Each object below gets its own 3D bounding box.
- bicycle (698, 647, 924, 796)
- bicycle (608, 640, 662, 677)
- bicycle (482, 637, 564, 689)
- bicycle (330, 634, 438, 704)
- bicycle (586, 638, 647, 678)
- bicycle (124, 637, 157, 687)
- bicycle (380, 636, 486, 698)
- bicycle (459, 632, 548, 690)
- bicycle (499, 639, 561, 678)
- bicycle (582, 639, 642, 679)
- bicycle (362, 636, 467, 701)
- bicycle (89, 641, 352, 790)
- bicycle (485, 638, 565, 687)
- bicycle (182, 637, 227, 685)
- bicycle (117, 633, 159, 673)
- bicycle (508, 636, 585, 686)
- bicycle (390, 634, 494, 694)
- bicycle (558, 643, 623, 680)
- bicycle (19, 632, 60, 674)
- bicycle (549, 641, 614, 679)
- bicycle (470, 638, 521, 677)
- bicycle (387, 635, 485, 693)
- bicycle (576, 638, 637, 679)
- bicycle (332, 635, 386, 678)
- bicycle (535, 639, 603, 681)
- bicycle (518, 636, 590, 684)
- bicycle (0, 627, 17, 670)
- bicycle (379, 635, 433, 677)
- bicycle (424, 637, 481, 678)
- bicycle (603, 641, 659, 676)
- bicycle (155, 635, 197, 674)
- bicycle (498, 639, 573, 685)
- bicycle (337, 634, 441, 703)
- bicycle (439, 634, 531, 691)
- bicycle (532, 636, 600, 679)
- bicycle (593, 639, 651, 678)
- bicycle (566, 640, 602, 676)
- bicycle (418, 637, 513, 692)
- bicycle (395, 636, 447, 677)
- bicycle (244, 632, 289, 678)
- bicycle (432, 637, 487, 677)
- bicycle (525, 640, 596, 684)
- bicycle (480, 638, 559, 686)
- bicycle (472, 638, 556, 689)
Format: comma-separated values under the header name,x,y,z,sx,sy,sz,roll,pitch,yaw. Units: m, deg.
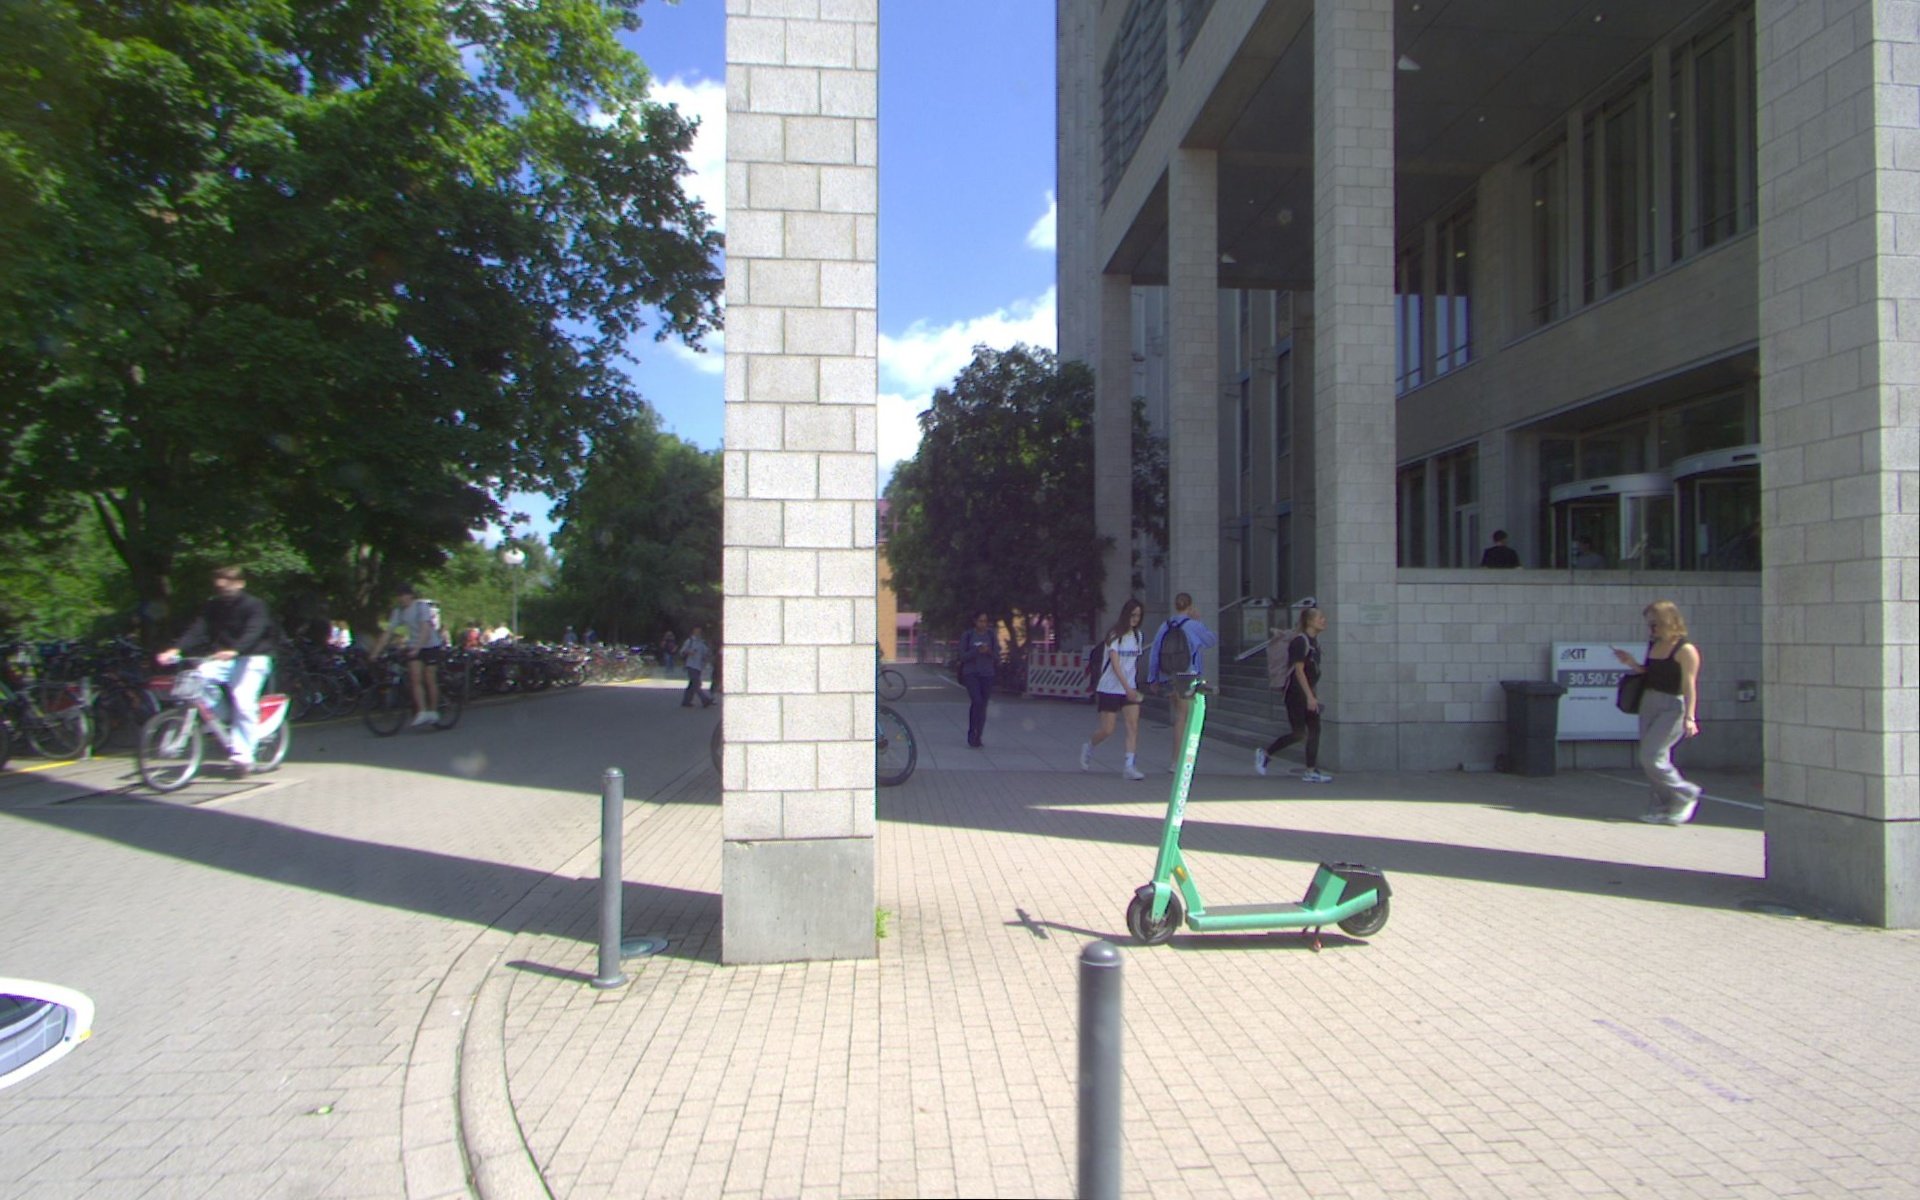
name,x,y,z,sx,sy,sz,roll,pitch,yaw
bicycle,-1.276,1.016,8.673,1.851,1.179,0.605,-1,-1,-10
bicycle,-10.837,1.949,33.431,1.669,1.173,0.474,2,-2,-13
bicycle,-10.257,1.485,23.532,1.670,1.159,0.473,2,-2,-16
bicycle,-9.789,1.166,17.035,1.598,1.122,0.497,1,-2,9
bicycle,-10.760,1.817,31.351,1.747,1.183,0.474,1,-2,9
bicycle,-18.618,1.398,22.750,0.469,1.097,1.684,3,-3,-42
bicycle,-10.062,1.284,19.155,1.707,1.122,0.497,2,-2,-5
bicycle,-10.257,1.371,22.528,1.708,1.251,0.497,2,-2,-12
bicycle,-12.859,1.742,29.925,1.667,1.097,0.474,1,-2,9
bicycle,-10.647,1.812,30.647,1.670,1.183,0.473,2,-2,-17
bicycle,-9.957,1.238,18.289,1.708,1.122,0.574,1,-2,15
bicycle,-6.446,0.969,8.887,0.662,1.154,1.887,2,-3,10
bicycle,-10.393,1.492,23.981,1.670,1.122,0.473,2,-2,-16
bicycle,-18.006,1.443,23.846,1.680,1.097,0.471,-1,-3,40
bicycle,-23.871,1.540,29.068,1.755,1.124,0.514,-1,-3,38
bicycle,-10.299,1.522,24.964,1.668,1.213,0.536,2,-2,-13
bicycle,-10.198,1.260,19.768,1.708,1.140,0.497,2,-2,-9
bicycle,-10.635,1.792,28.851,1.681,1.031,0.470,4,-3,-40
bicycle,-25.474,1.469,27.710,1.755,1.124,0.514,-1,-3,38
bicycle,-11.028,1.757,29.175,1.681,1.075,0.470,4,-3,-40
bicycle,-13.550,1.665,29.206,1.674,1.097,0.472,0,-3,31
bicycle,-10.646,1.308,20.384,1.716,1.122,0.495,3,-3,-29
bicycle,-10.630,1.756,30.105,1.672,1.183,0.473,3,-2,-22
bicycle,-15.854,1.475,26.404,1.675,1.097,0.472,0,-3,31
bicycle,-10.759,1.668,27.576,1.677,1.122,0.471,3,-3,-32
bicycle,-10.648,1.582,26.322,1.669,1.202,0.473,2,-2,-16
bicycle,-25.903,1.292,26.916,1.755,1.124,0.514,-1,-3,38
bicycle,-15.116,1.527,27.316,1.675,1.097,0.472,0,-3,31
bicycle,-14.181,1.597,27.967,1.672,1.097,0.473,0,-3,27
bicycle,-10.823,1.938,32.962,1.668,1.105,0.474,2,-2,-11
bicycle,-23.317,1.615,29.768,1.755,1.124,0.514,-1,-3,38
bicycle,-10.888,1.588,25.748,1.669,1.122,0.565,2,-2,-16
bicycle,-10.041,1.202,17.627,1.598,1.158,0.497,1,-2,9
bicycle,-10.404,1.369,21.953,1.707,1.193,0.497,2,-2,-5
bicycle,-11.001,1.617,27.972,1.677,1.172,0.471,3,-3,-32
bicycle,-10.853,1.877,32.197,1.668,1.183,0.474,2,-2,-11
bicycle,-12.069,1.863,32.183,0.498,1.097,1.701,1,-3,-1
bicycle,-10.468,1.365,21.254,1.710,1.122,0.496,2,-2,-17
bicycle,-14.952,1.563,27.772,1.675,1.097,0.472,0,-3,31
bicycle,-17.098,1.353,24.682,1.680,1.097,0.471,-1,-3,40
bicycle,-14.282,1.617,28.572,1.672,1.097,0.473,0,-3,27
bicycle,-10.701,1.667,26.846,1.669,1.122,0.582,2,-2,-16
bicycle,-10.689,1.510,24.331,1.669,1.122,0.473,2,-2,-16
bicycle,-10.231,1.458,23.008,1.669,1.122,0.496,2,-2,-15
